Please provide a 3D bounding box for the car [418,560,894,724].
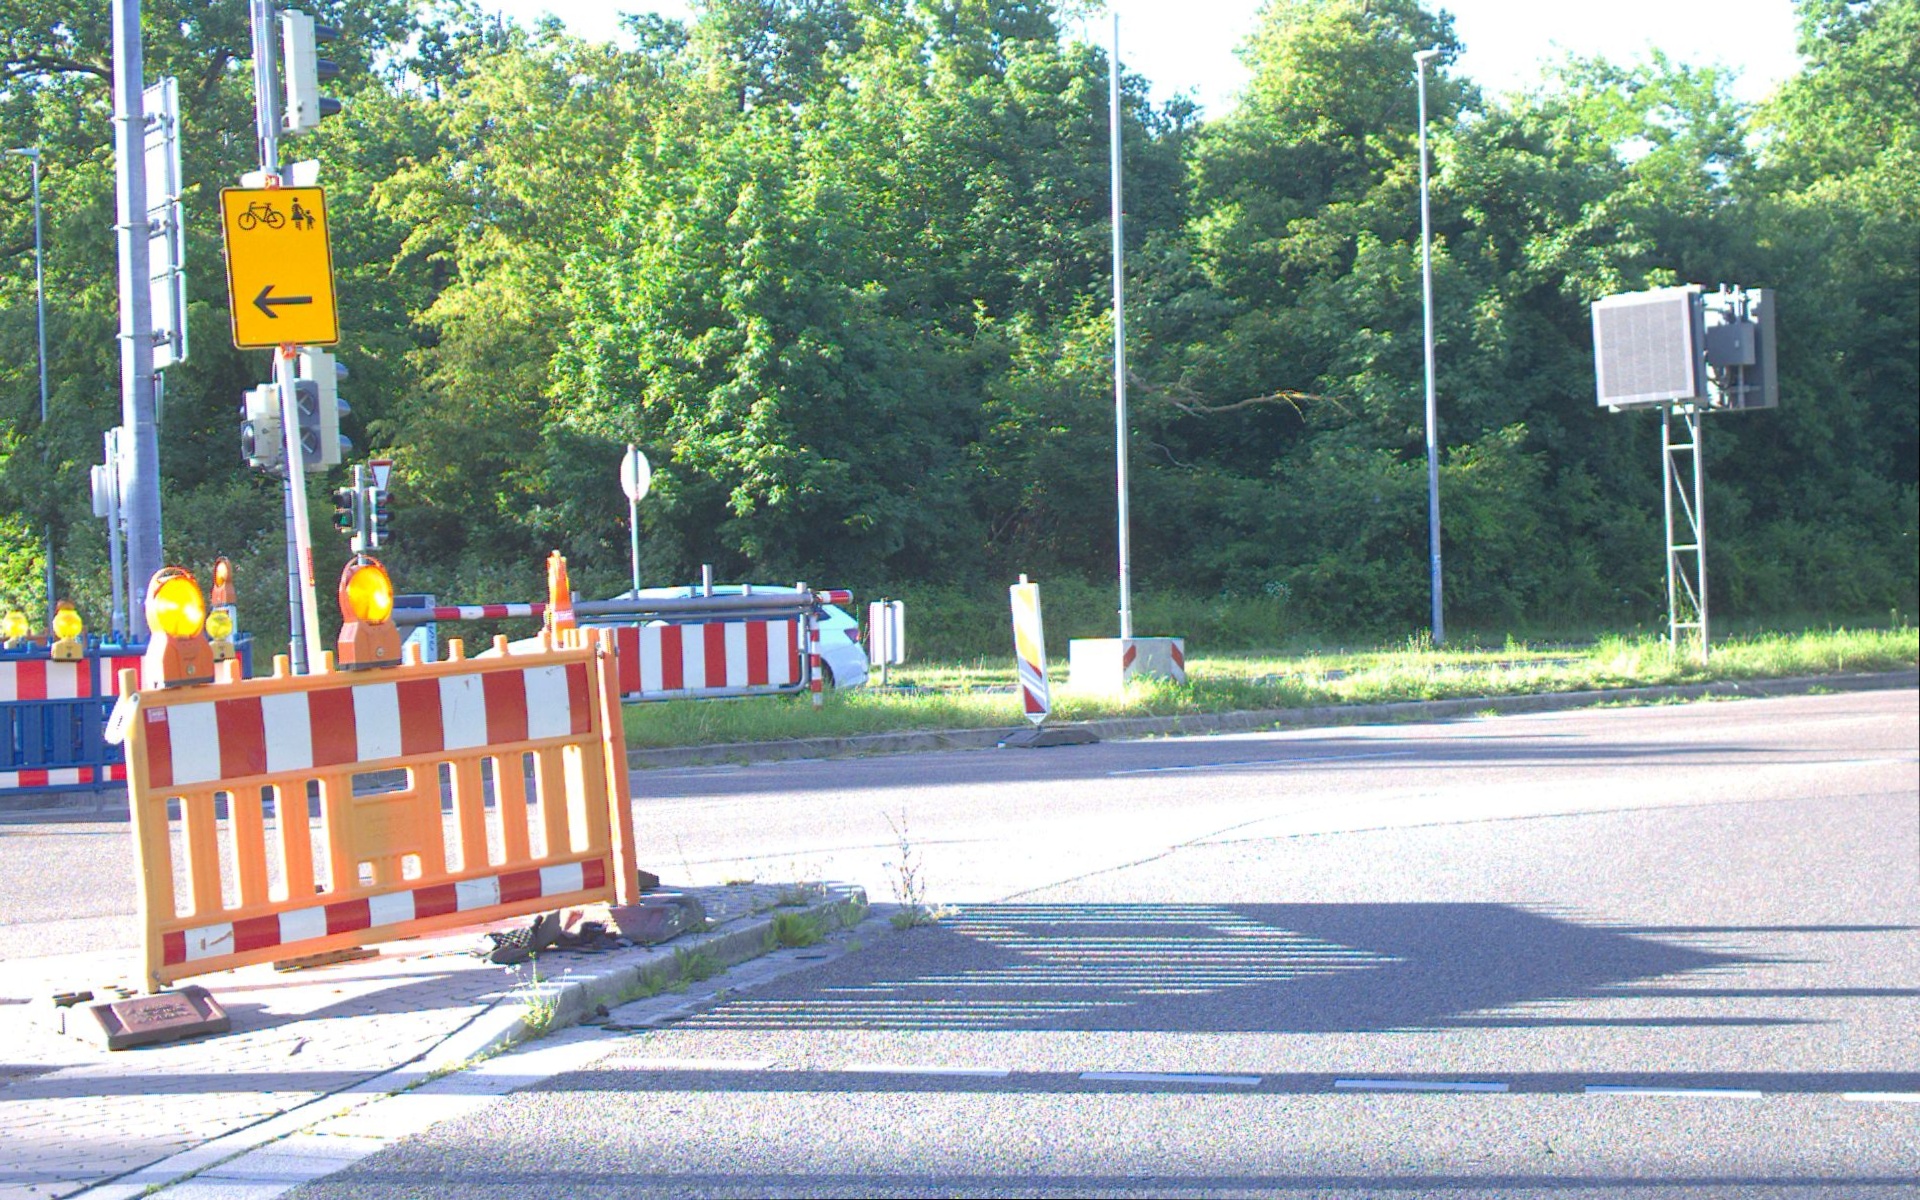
[{"bbox_3d":[-3.261,0.424,37.409,4.819,1.575,1.999,-2,1,-39],"label":"car"}]
